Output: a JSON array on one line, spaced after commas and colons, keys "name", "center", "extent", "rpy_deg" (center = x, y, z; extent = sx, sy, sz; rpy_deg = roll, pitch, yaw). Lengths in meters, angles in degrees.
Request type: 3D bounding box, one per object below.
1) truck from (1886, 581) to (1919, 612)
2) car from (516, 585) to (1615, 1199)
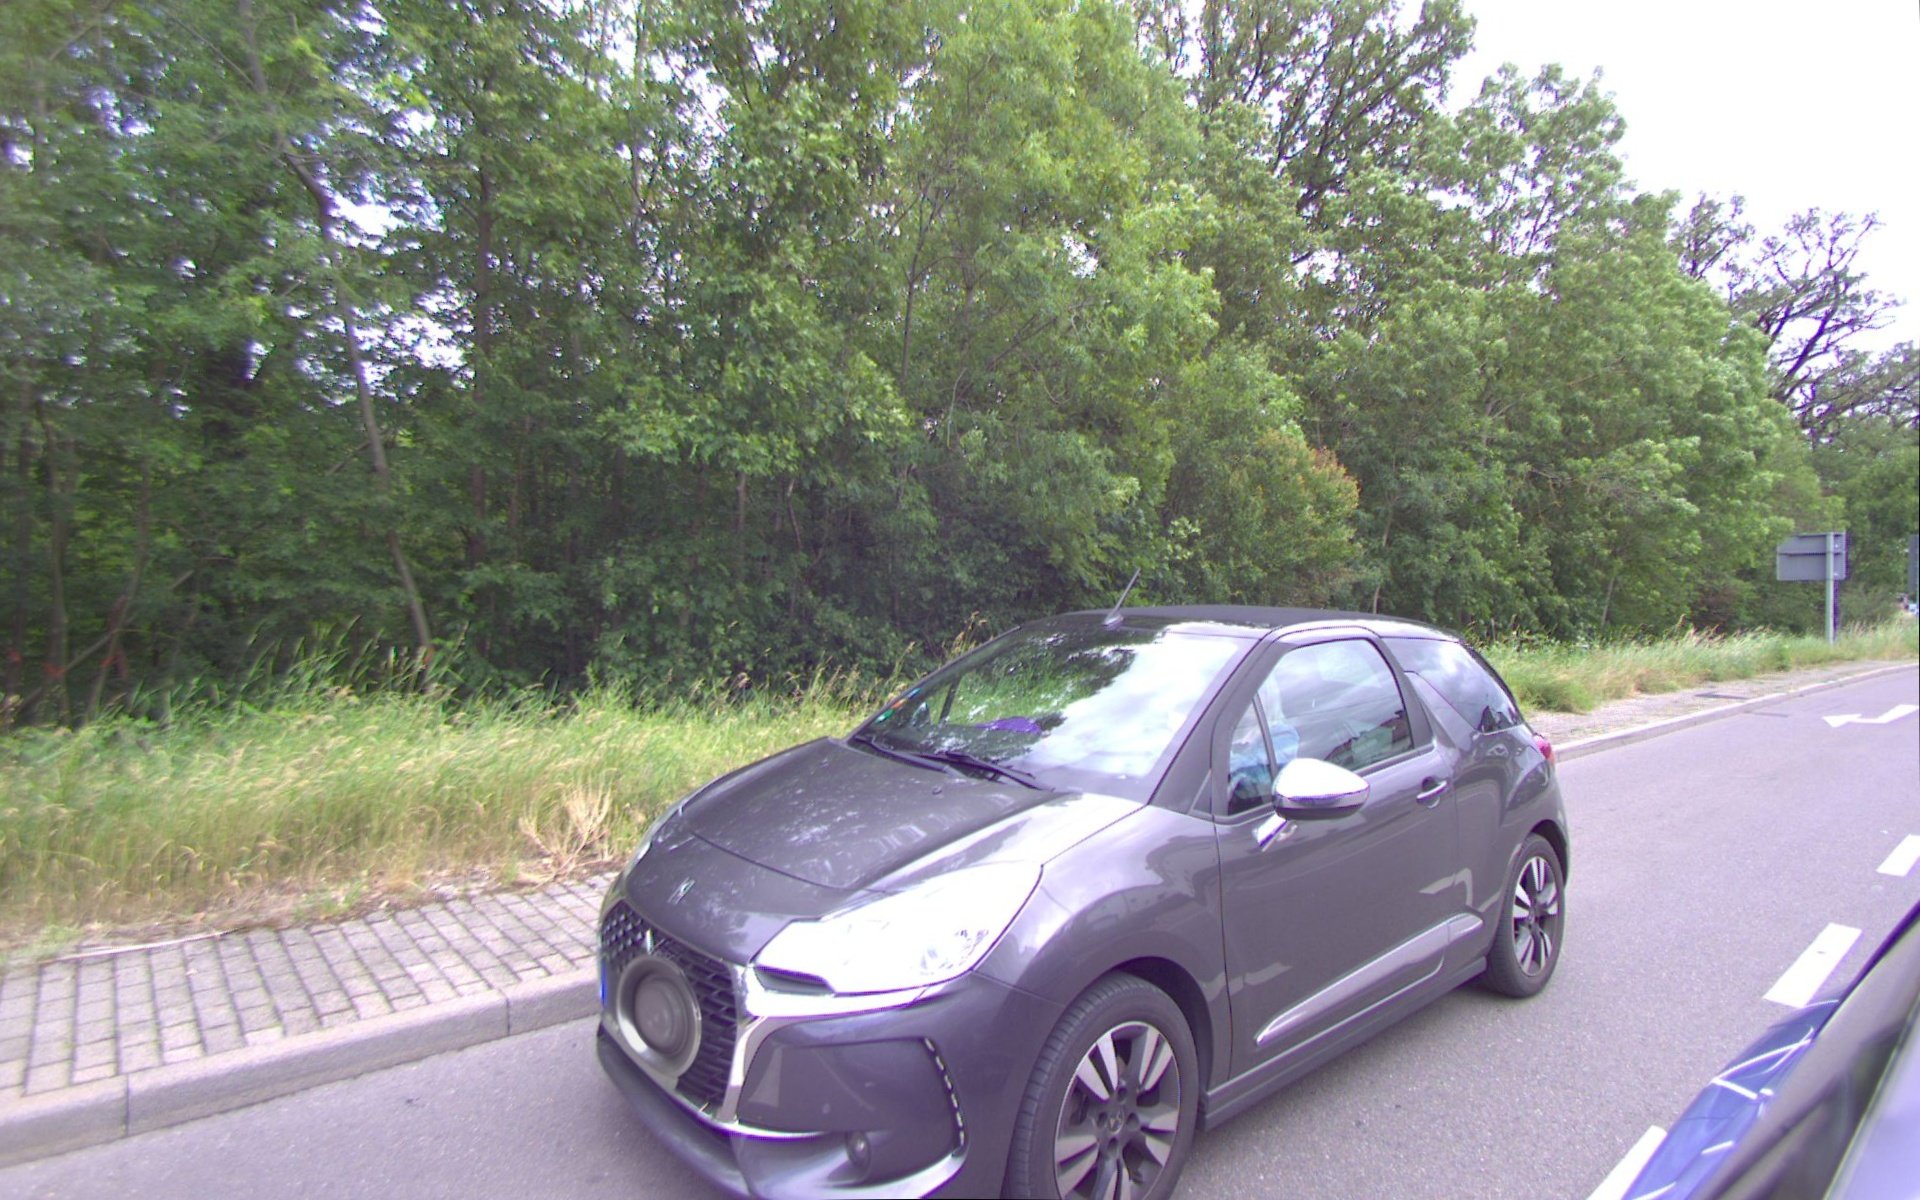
[{"name": "truck", "center": [114.926, -0.437, 123.160], "extent": [2.995, 3.685, 6.985], "rpy_deg": [1, 1, 40]}, {"name": "car", "center": [0.670, 0.707, 3.578], "extent": [3.786, 1.476, 1.729], "rpy_deg": [0, 0, -40]}]
